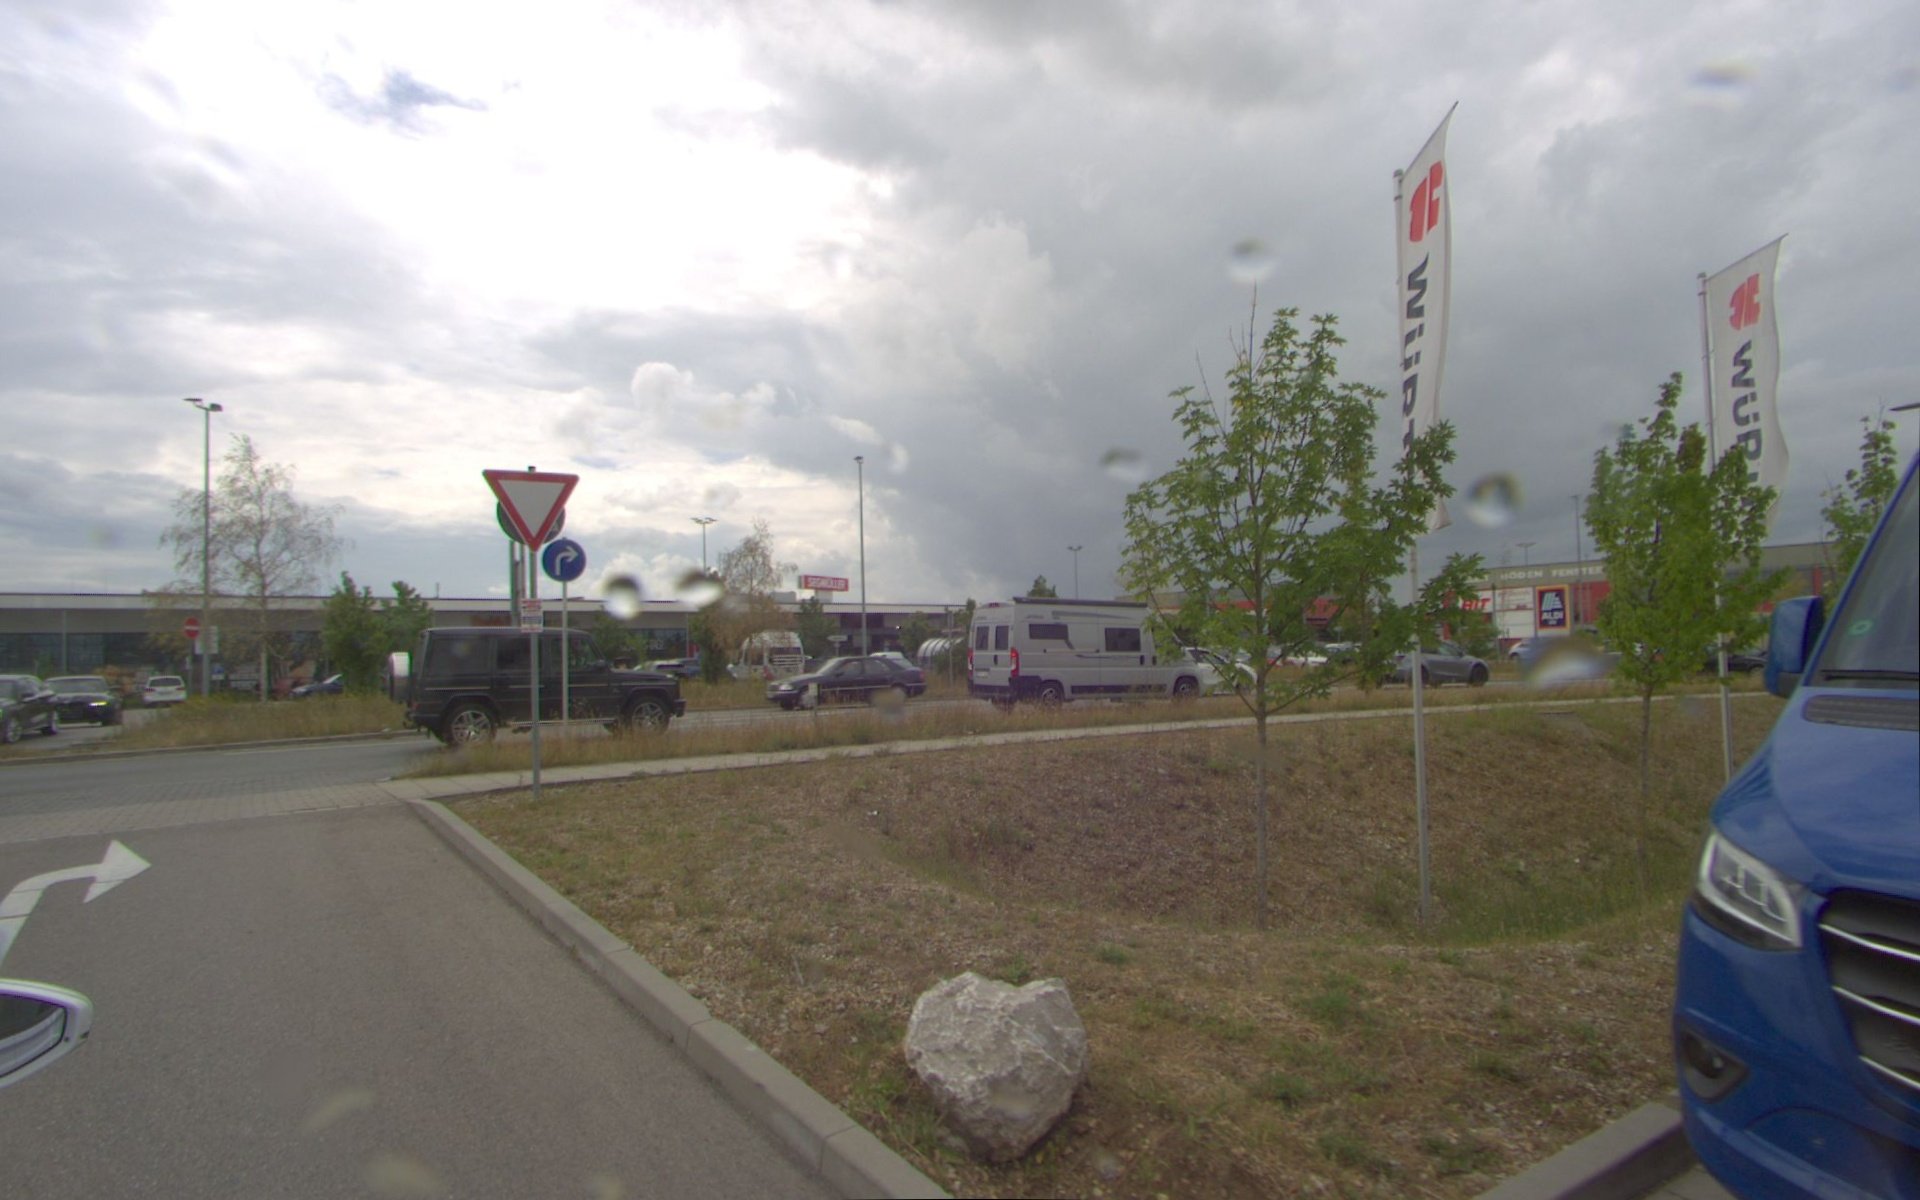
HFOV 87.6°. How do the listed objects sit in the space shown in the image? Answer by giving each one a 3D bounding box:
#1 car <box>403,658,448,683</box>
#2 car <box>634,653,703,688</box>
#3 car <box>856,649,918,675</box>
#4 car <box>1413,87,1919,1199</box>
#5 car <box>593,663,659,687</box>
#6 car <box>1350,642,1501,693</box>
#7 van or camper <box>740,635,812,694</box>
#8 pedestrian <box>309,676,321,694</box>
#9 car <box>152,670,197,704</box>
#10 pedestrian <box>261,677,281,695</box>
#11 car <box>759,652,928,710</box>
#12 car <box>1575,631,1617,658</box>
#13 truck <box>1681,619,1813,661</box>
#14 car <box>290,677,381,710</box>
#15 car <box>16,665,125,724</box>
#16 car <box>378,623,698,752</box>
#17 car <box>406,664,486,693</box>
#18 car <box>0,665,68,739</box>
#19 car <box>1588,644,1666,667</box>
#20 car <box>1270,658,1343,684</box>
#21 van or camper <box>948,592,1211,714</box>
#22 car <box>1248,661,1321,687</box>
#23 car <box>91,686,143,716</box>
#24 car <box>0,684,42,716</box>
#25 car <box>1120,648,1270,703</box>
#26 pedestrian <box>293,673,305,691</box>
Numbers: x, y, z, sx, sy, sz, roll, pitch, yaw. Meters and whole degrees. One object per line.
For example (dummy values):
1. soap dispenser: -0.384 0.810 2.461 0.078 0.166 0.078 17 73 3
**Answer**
1. car: -34.091 4.499 63.813 1.976 1.526 3.973 1 -4 -37
2. car: -12.941 3.150 44.296 1.968 1.468 4.131 1 -5 -31
3. car: -5.531 4.688 75.776 4.383 1.840 1.983 2 -5 -42
4. car: 5.021 0.381 3.232 7.740 2.351 2.193 0 -3 -28
5. car: -23.355 5.232 70.125 3.954 1.526 1.986 2 -4 -38
6. car: 15.453 2.211 33.210 4.807 1.526 1.805 0 -3 -25
7. van or camper: -8.442 2.923 45.712 2.255 2.523 3.987 0 -3 -26
8. pedestrian: -42.740 5.626 66.322 0.572 1.138 0.557 1 -3 -43
9. car: -43.554 4.789 55.606 1.808 1.721 4.205 1 -3 -37
10. pedestrian: -45.484 5.652 66.073 0.963 1.168 1.124 1 -4 -41
11. car: -3.211 2.233 27.783 4.311 1.412 1.783 1 -5 -32
12. car: 55.602 3.864 87.500 4.306 2.232 2.007 1 -4 -44
13. truck: 60.173 3.062 76.683 8.024 2.981 2.682 -1 -3 -2
14. car: -30.685 4.574 49.246 3.580 1.472 1.654 2 -4 -41
15. car: -24.670 2.593 27.906 1.763 1.463 4.582 1 -5 -35
16. car: -7.178 1.450 17.242 4.785 1.947 1.989 2 -4 -34
17. car: -28.464 4.341 55.523 3.717 1.472 1.655 2 -4 -40
18. car: -21.180 2.190 21.861 1.773 1.484 4.300 1 -4 -31
19. car: 46.009 3.856 69.130 1.970 1.459 3.988 1 -5 -27
20. car: 20.260 4.132 58.726 1.885 1.407 3.801 0 -3 -27
21. van or camper: 2.882 1.266 23.594 6.079 2.572 2.186 2 -4 -30
22. car: 18.606 4.218 57.558 1.885 1.407 3.801 0 -3 -27
23. car: -45.369 5.393 53.946 1.890 1.461 3.974 1 -4 -37
24. car: -42.119 4.319 42.938 3.959 1.368 1.984 3 -5 -42
25. car: 6.969 2.213 29.649 4.186 1.468 1.794 0 -4 -29
26. pedestrian: -44.070 5.475 66.740 0.572 1.138 0.557 1 -3 -43
